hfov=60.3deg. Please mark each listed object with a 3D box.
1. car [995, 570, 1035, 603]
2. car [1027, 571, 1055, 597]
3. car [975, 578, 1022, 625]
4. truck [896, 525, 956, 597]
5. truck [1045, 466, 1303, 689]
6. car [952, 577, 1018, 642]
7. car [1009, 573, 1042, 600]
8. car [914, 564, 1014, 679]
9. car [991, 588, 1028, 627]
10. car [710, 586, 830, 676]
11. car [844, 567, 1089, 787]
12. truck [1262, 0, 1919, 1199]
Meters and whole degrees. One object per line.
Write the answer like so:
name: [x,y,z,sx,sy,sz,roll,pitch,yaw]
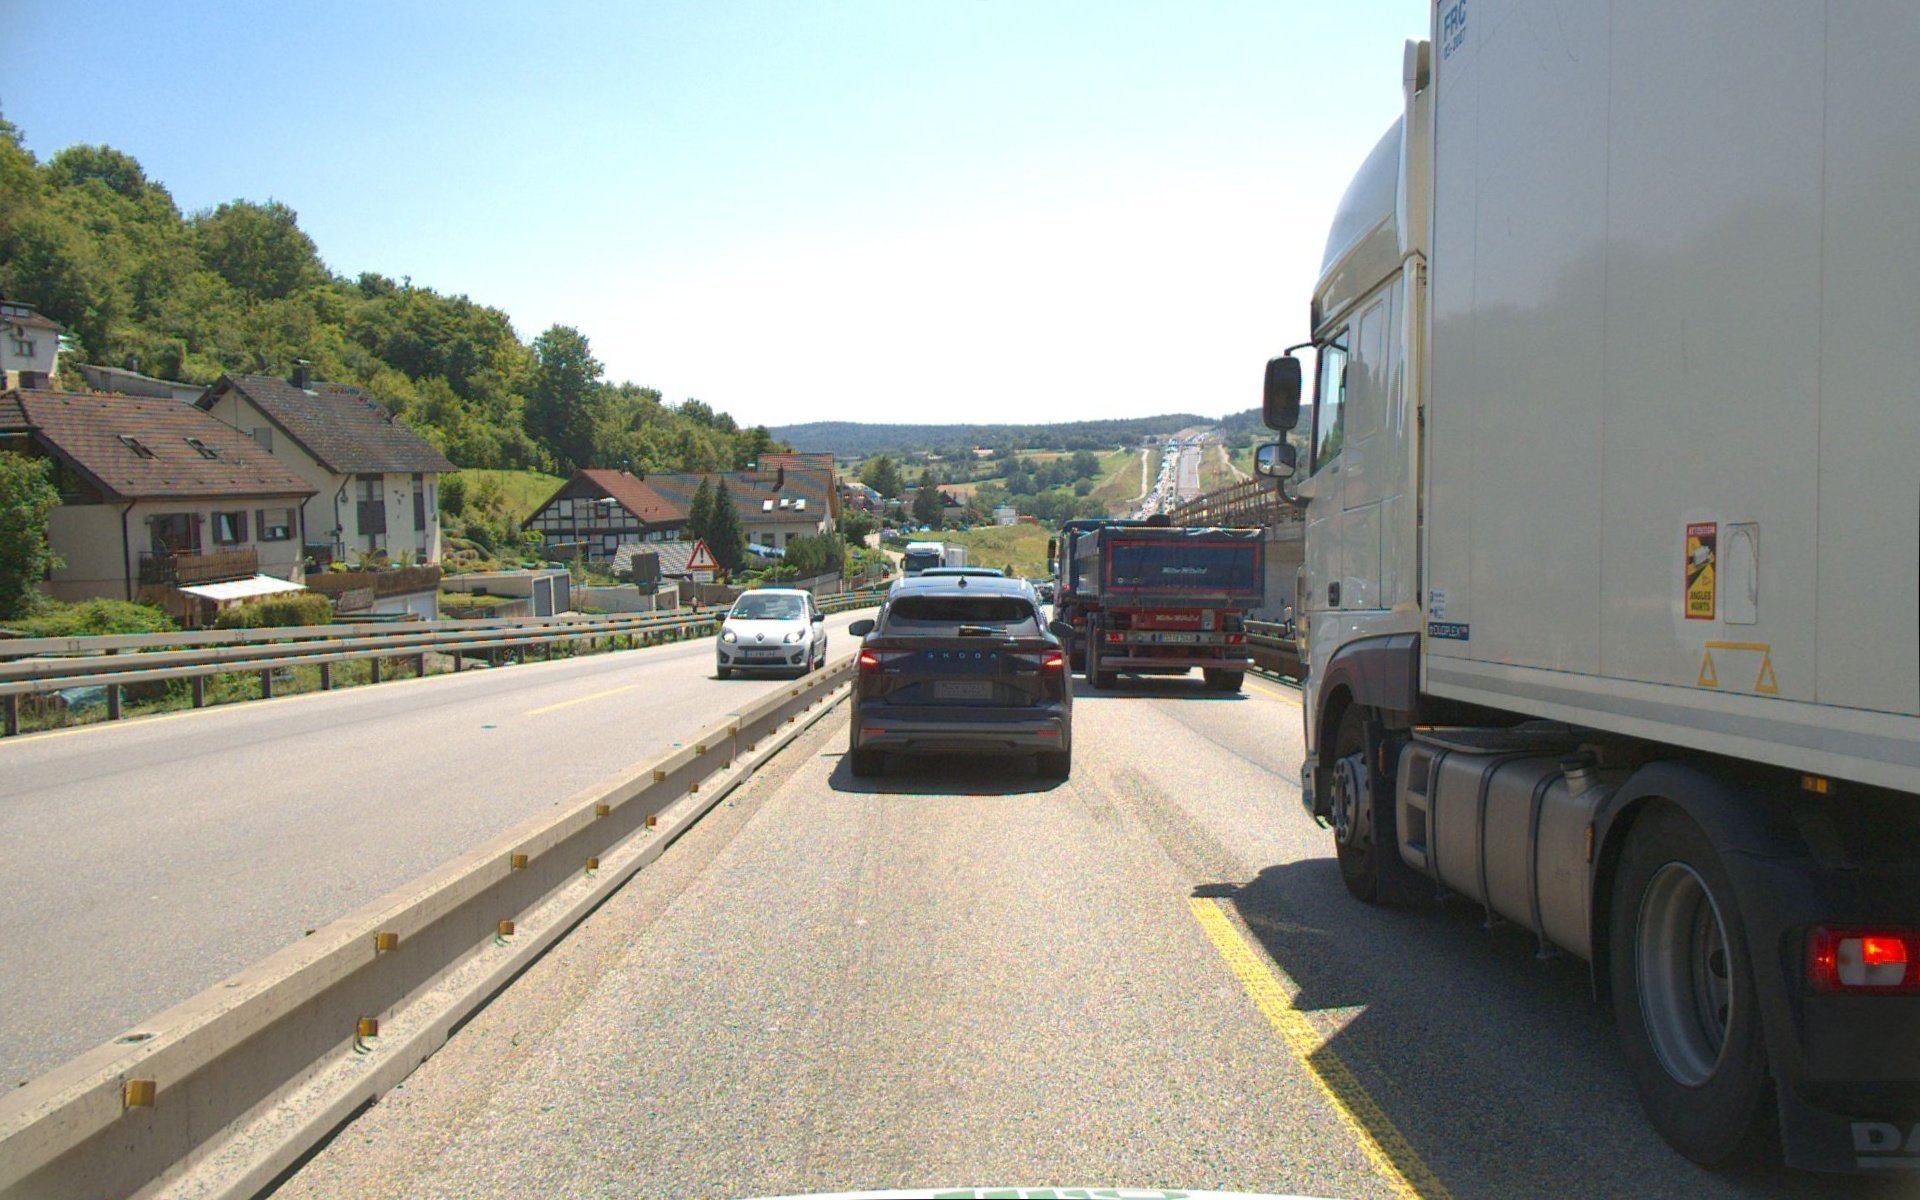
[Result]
car: [2.950,-0.699,88.026,1.952,1.613,3.838,1,0,3]
car: [5.677,-1.109,116.050,1.664,1.758,3.839,1,0,7]
car: [1.496,0.031,62.967,1.671,1.650,4.002,1,1,2]
truck: [-2.158,-2.468,108.447,3.234,4.438,8.304,1,0,3]
truck: [3.499,-0.317,30.844,3.129,3.247,12.808,1,0,0]
car: [0.660,0.229,46.628,1.672,1.650,4.000,1,1,-1]
car: [4.025,-0.815,101.317,1.952,1.613,3.838,1,0,3]
car: [0.028,0.328,30.218,1.672,1.914,4.000,1,1,-1]
car: [2.348,0.330,77.709,1.671,1.650,4.002,1,1,2]
car: [-3.277,0.499,29.126,1.711,1.451,3.709,0,1,-1]
car: [0.010,0.584,14.375,1.805,1.614,3.906,1,0,-1]
truck: [3.126,-0.682,5.615,2.462,4.095,8.235,1,0,-1]
